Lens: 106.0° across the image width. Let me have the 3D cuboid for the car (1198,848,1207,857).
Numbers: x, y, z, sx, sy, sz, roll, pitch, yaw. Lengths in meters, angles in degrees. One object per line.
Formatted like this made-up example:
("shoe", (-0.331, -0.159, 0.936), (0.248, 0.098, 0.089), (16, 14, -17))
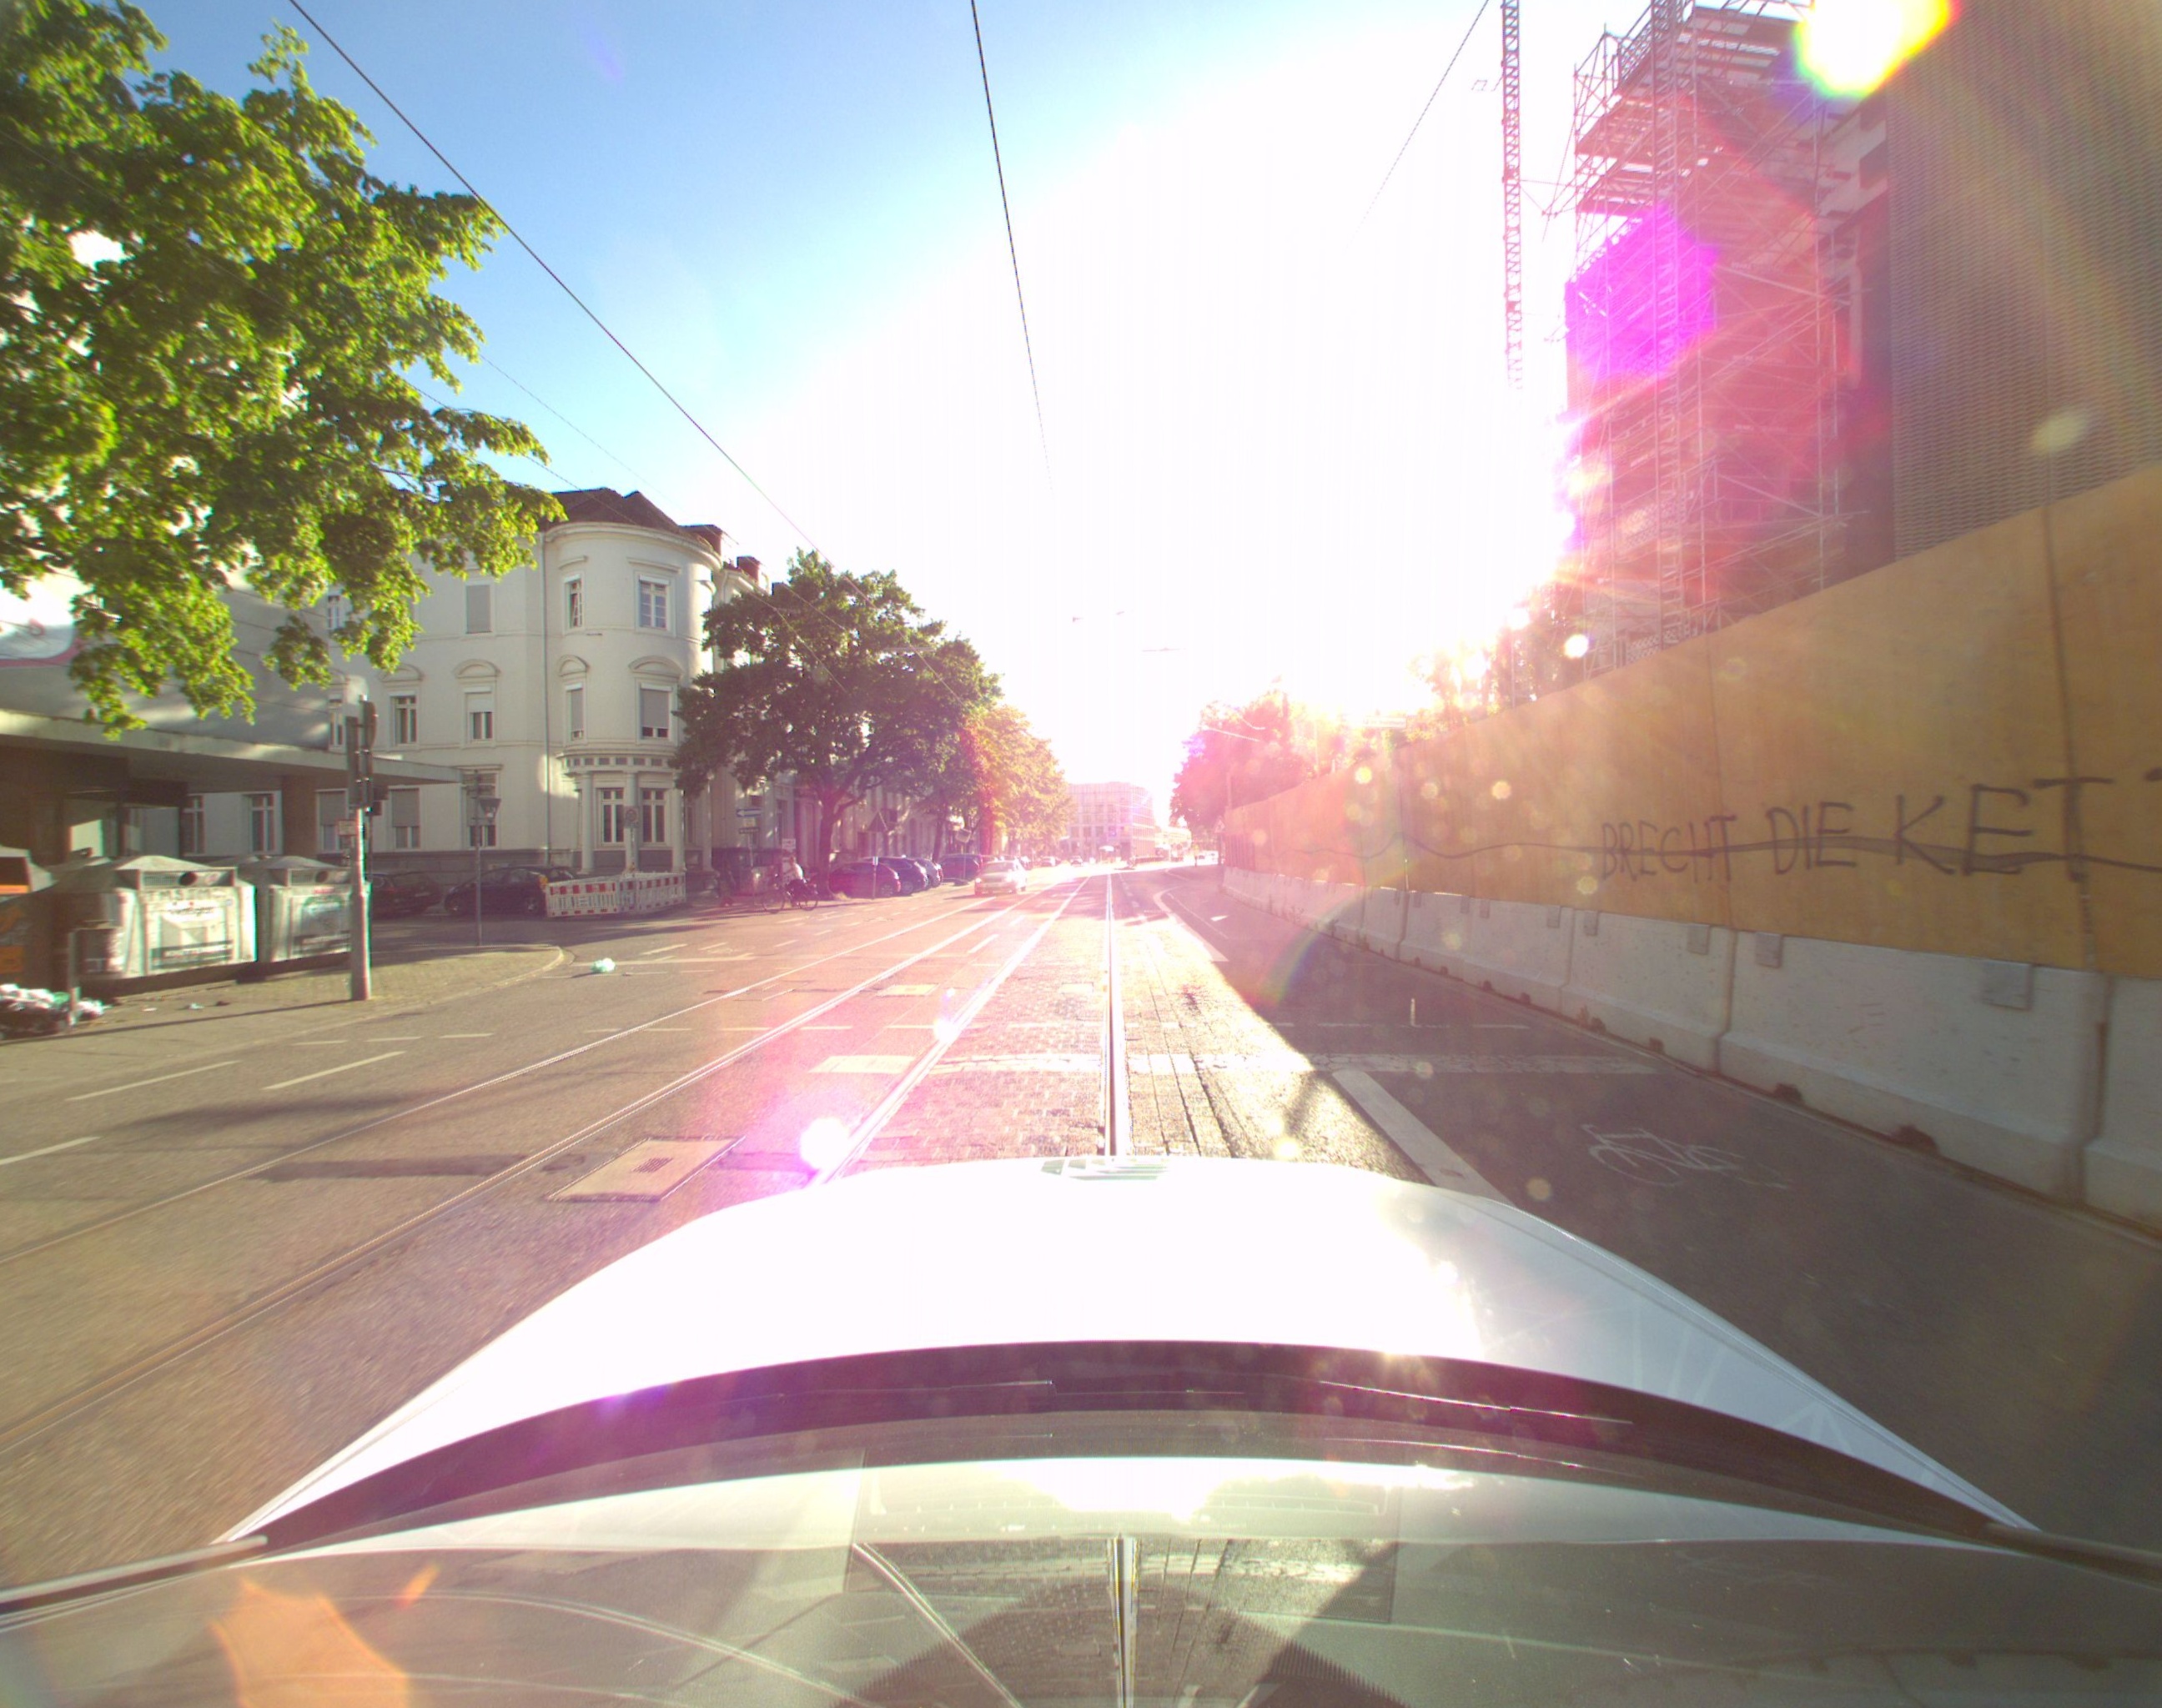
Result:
("car", (28.346, -0.434, 190.430), (1.981, 2.013, 4.011), (-1, 0, 10))

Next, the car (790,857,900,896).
("car", (-9.354, 0.877, 32.362), (3.927, 1.453, 1.622), (1, -1, -32))

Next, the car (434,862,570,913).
("car", (-17.858, 1.016, 25.195), (3.222, 1.443, 1.478), (-1, 0, 6))

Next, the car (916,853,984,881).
("car", (-8.658, 0.824, 53.734), (4.181, 1.721, 1.570), (-1, 0, -26))

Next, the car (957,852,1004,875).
("car", (-7.834, 0.747, 63.548), (3.390, 1.697, 1.393), (-1, -1, -26))

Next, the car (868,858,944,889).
("car", (-9.303, 1.020, 43.418), (3.700, 1.527, 1.468), (-1, 0, -33))

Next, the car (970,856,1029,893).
("car", (-3.419, 0.817, 34.955), (1.701, 1.436, 4.177), (-1, 0, 5))

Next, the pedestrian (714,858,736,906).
("pedestrian", (-11.695, 0.916, 26.752), (0.342, 1.572, 0.515), (-1, 0, 30))

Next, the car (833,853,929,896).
("car", (-8.655, 0.863, 35.309), (3.700, 1.721, 1.595), (-1, 0, -33))

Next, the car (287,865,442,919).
("car", (-22.405, 1.171, 25.513), (3.739, 1.549, 1.478), (-1, 0, 6))

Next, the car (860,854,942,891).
("car", (-9.031, 0.898, 40.891), (3.700, 1.721, 1.595), (-1, 0, -33))

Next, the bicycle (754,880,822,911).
("bicycle", (-9.062, 1.272, 25.245), (1.910, 0.881, 0.445), (-1, 0, -38))

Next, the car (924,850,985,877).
("car", (-8.798, 0.682, 56.808), (3.850, 1.832, 1.716), (1, -1, -28))

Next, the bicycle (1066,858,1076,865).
("bicycle", (-1.836, 1.387, 154.153), (1.791, 1.224, 0.598), (-1, 0, -7))

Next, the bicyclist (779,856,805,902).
("bicyclist", (-8.982, 0.770, 25.308), (0.644, 1.378, 0.454), (-1, 0, -37))

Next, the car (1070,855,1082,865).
("car", (-0.818, 0.971, 137.222), (1.550, 1.530, 4.007), (-1, 0, 6))

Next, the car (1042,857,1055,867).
("car", (-4.824, 1.166, 120.136), (1.566, 1.490, 4.002), (-1, 0, 2))

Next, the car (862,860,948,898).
("car", (-8.292, 1.142, 38.348), (3.578, 1.662, 1.720), (-1, 0, -31))
